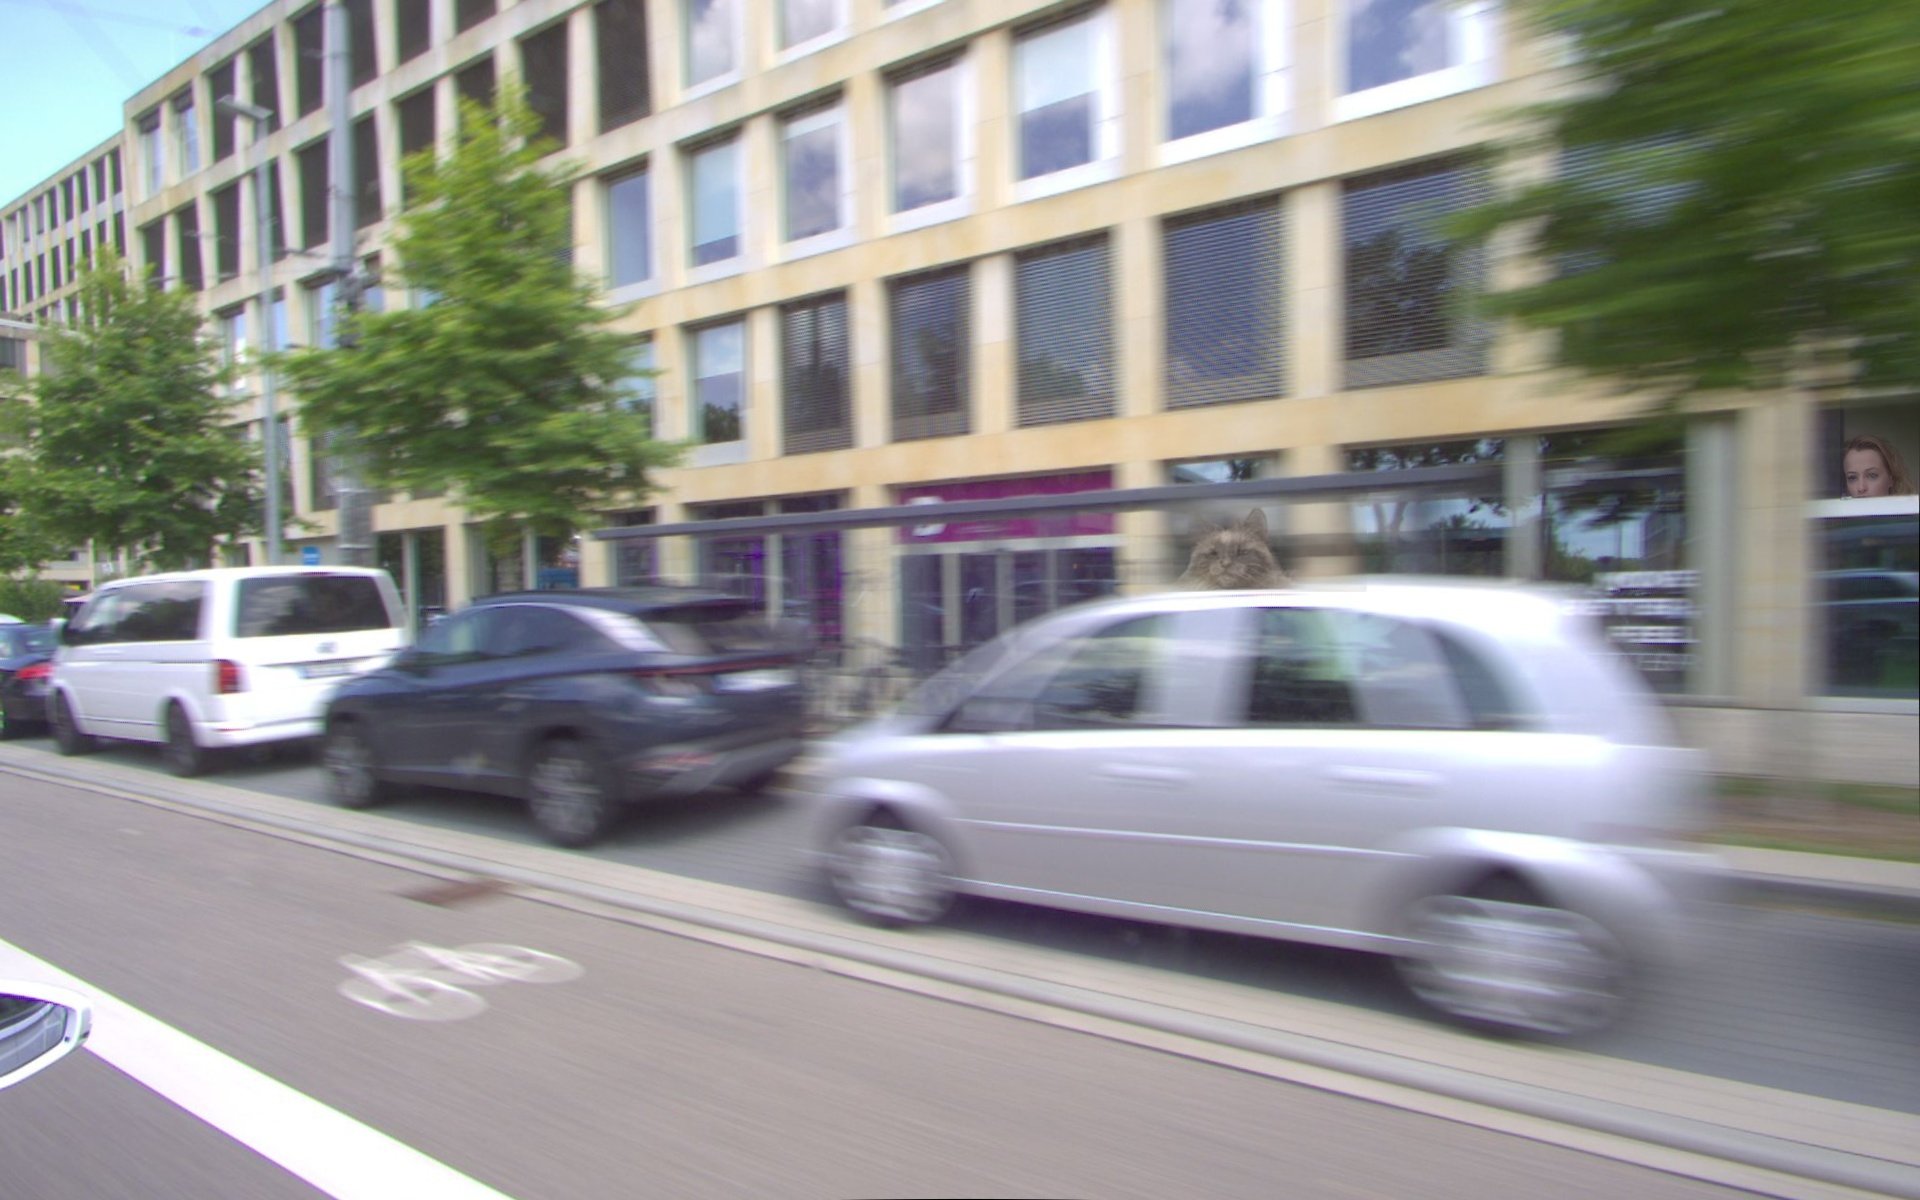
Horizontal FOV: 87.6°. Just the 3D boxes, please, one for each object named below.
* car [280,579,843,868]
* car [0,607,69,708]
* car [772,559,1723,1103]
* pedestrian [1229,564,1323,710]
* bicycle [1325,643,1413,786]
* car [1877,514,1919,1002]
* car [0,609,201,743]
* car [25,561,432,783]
[{"bbox_3d":[-3.213,0.731,7.764,4.462,1.663,1.717,-1,2,32],"label":"car"},{"bbox_3d":[-16.861,0.943,16.751,4.099,1.551,1.788,-1,2,32],"label":"car"},{"bbox_3d":[1.124,0.705,4.753,3.804,1.641,1.717,-1,1,32],"label":"car"},{"bbox_3d":[3.570,0.395,11.300,0.892,1.572,0.636,0,1,32],"label":"pedestrian"},{"bbox_3d":[3.500,0.907,8.491,0.433,1.070,1.839,0,-2,30],"label":"bicycle"},{"bbox_3d":[5.380,0.561,2.141,4.770,1.791,1.765,-1,1,32],"label":"car"},{"bbox_3d":[-12.574,0.927,13.783,4.498,1.507,1.877,-1,2,32],"label":"car"},{"bbox_3d":[-8.058,0.632,10.910,4.773,1.966,1.877,-1,2,32],"label":"car"}]
